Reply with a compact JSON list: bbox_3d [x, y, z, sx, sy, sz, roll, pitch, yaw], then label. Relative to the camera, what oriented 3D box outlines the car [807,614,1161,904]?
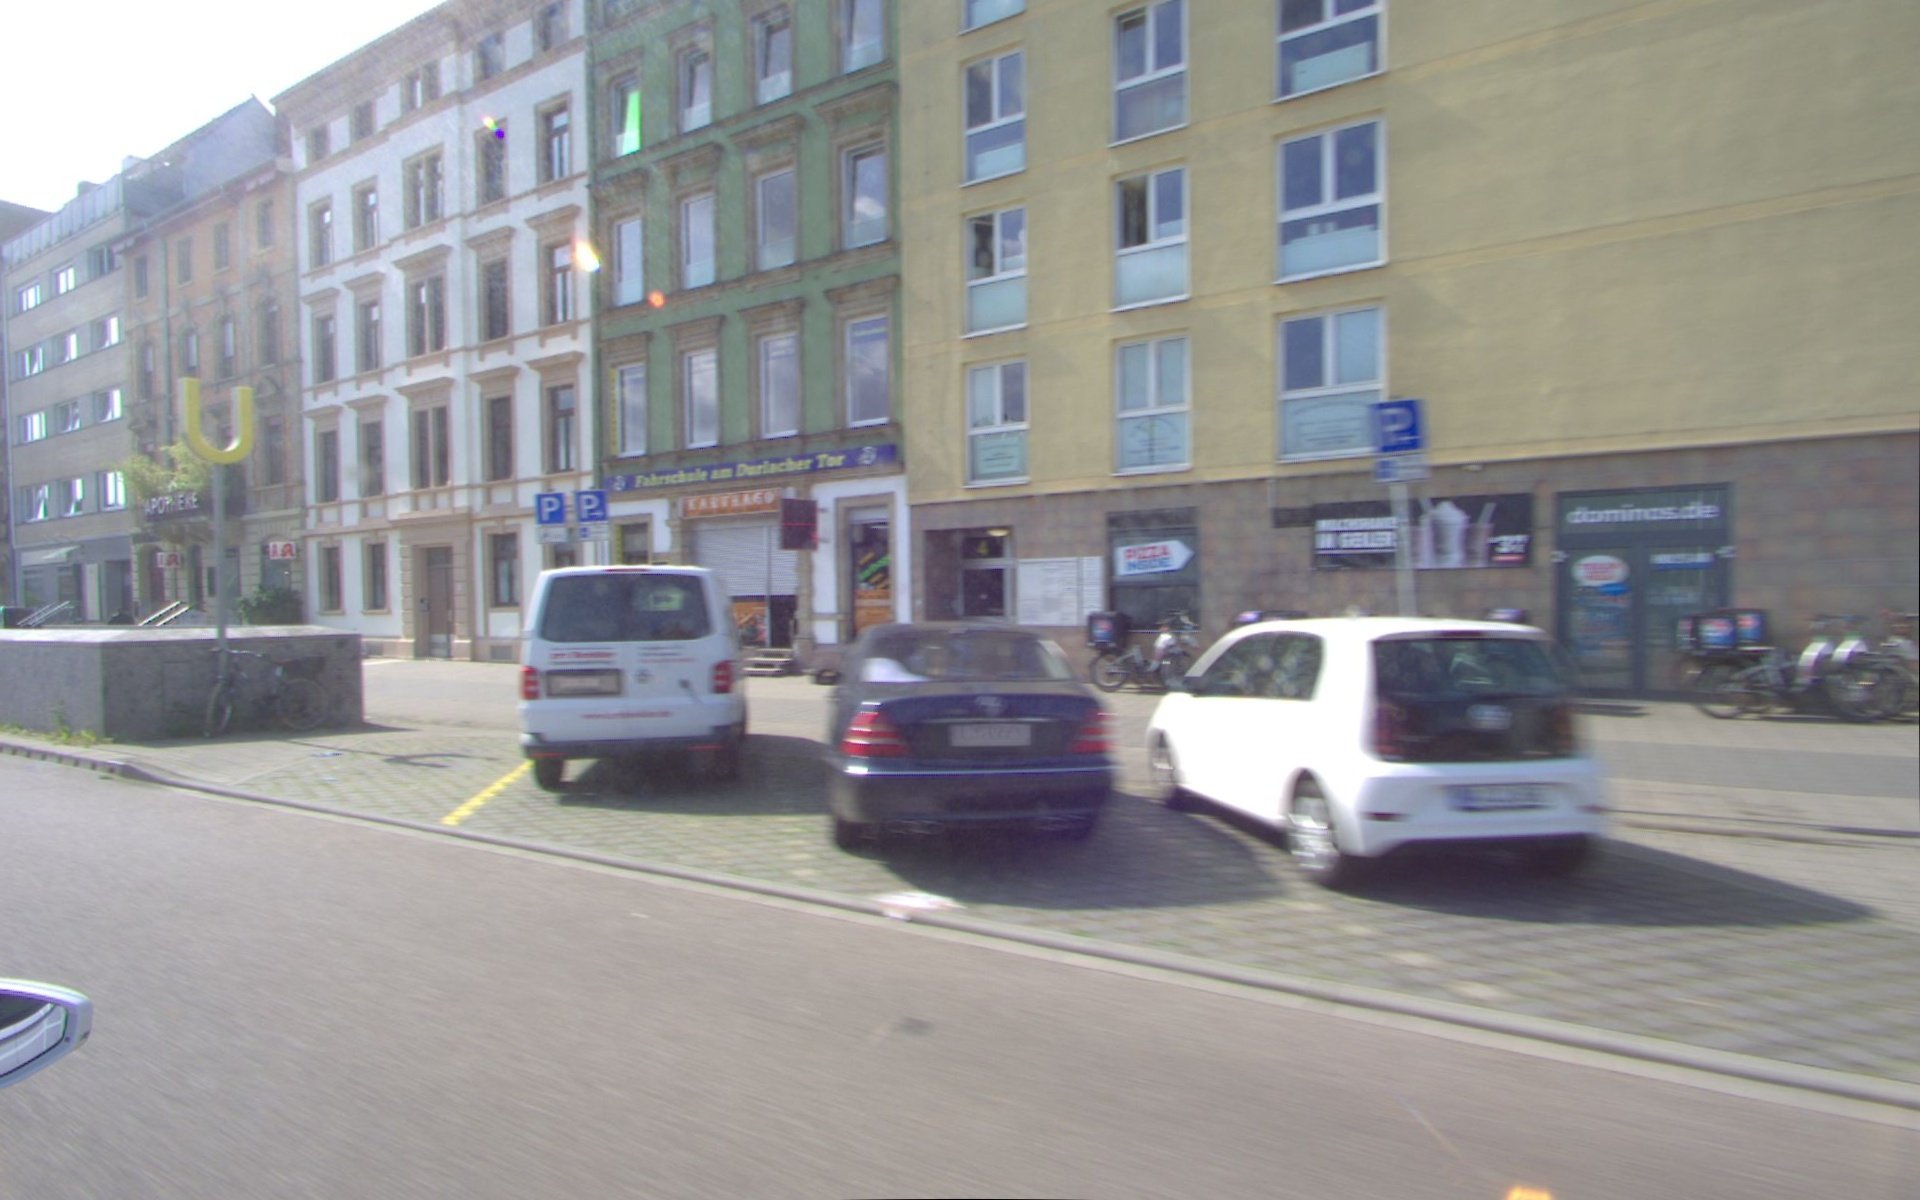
[{"bbox_3d":[-0.217,0.880,7.947,1.855,1.488,5.061,-1,0,-10],"label":"car"}]

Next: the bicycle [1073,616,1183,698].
[{"bbox_3d":[2.625,0.870,15.707,1.622,1.217,0.485,-1,1,32],"label":"bicycle"}]

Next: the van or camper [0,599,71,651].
[{"bbox_3d":[-39.185,1.016,41.542,5.222,1.931,1.988,-1,2,32],"label":"van or camper"}]

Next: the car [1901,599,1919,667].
[{"bbox_3d":[23.485,0.622,22.090,3.525,1.548,1.991,-5,-4,31],"label":"car"}]

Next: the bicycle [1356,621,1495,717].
[{"bbox_3d":[6.260,0.903,13.513,1.624,1.217,0.545,-1,1,37],"label":"bicycle"}]

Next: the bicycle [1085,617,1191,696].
[{"bbox_3d":[2.875,0.892,16.215,1.622,1.217,0.485,-1,1,32],"label":"bicycle"}]

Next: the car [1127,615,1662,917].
[{"bbox_3d":[2.503,0.873,6.756,1.687,1.459,3.512,0,-2,-9],"label":"car"}]

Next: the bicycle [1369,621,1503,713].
[{"bbox_3d":[6.612,0.902,13.947,1.624,1.217,0.484,-1,1,37],"label":"bicycle"}]

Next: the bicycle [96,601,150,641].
[{"bbox_3d":[-25.768,0.662,30.805,2.180,1.060,0.702,-6,-4,34],"label":"bicycle"}]

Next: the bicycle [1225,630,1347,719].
[{"bbox_3d":[4.728,1.050,14.572,1.624,1.217,0.484,-1,1,37],"label":"bicycle"}]

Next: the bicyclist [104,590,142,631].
[{"bbox_3d":[-25.722,0.333,30.782,0.803,1.161,0.706,-5,-4,34],"label":"bicyclist"}]

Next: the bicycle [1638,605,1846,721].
[{"bbox_3d":[9.133,0.718,11.773,1.859,1.289,0.486,-1,1,24],"label":"bicycle"}]

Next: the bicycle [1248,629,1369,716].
[{"bbox_3d":[5.172,1.050,14.914,1.624,1.217,0.484,-1,1,37],"label":"bicycle"}]

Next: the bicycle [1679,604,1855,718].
[{"bbox_3d":[9.678,0.710,12.078,1.624,1.289,0.484,-1,1,37],"label":"bicycle"}]

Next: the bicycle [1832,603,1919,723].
[{"bbox_3d":[10.626,0.677,10.935,1.624,1.289,0.528,-1,1,37],"label":"bicycle"}]

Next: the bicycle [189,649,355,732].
[{"bbox_3d":[-8.999,1.152,13.186,0.504,1.016,1.773,-1,-2,27],"label":"bicycle"}]

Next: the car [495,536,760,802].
[{"bbox_3d":[-3.235,0.624,10.566,2.042,2.111,4.895,1,-1,-13],"label":"car"}]

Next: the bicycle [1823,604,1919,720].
[{"bbox_3d":[10.912,0.694,11.389,1.624,1.289,0.484,-1,1,37],"label":"bicycle"}]
